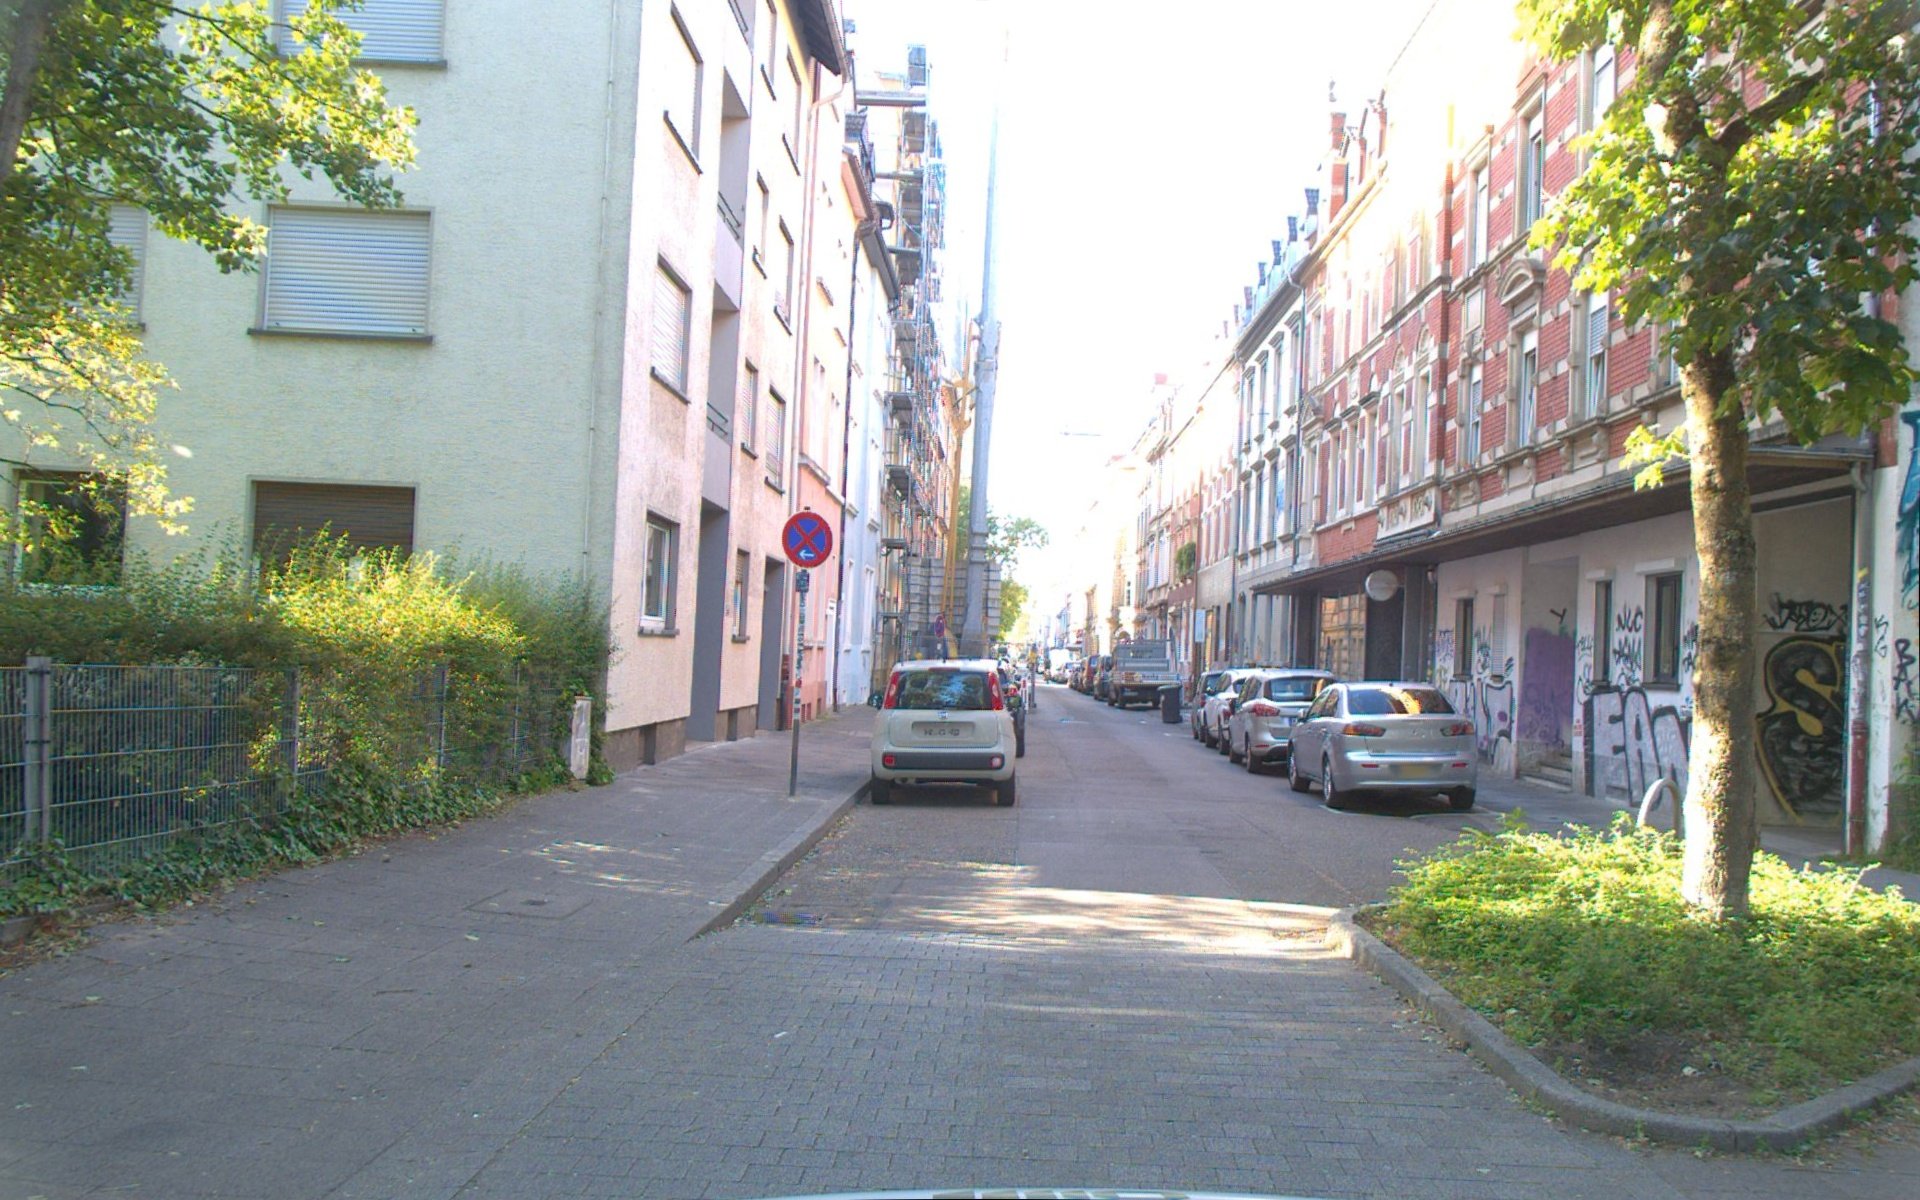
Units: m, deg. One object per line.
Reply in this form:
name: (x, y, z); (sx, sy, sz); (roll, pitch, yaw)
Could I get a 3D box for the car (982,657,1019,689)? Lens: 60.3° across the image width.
car: (1.974, 3.561, 81.119); (1.641, 1.471, 3.868); (2, -2, -1)

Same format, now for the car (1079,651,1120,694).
car: (6.961, 3.632, 83.013); (1.641, 2.067, 3.868); (2, -2, -1)

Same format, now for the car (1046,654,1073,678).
car: (8.122, 5.336, 134.856); (1.952, 1.881, 3.999); (2, -2, 0)

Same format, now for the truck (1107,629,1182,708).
truck: (6.647, 2.462, 60.043); (2.145, 2.653, 5.233); (2, -2, 1)

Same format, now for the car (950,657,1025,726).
car: (0.684, 2.165, 39.847); (1.640, 1.503, 4.608); (2, -2, 1)

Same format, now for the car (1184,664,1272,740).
car: (6.111, 2.288, 38.014); (1.563, 1.588, 3.814); (2, -2, 3)

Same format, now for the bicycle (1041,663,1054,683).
bicycle: (5.785, 4.808, 109.331); (0.709, 1.207, 2.043); (3, -1, 2)

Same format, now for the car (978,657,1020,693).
car: (1.691, 3.262, 72.312); (1.641, 1.471, 3.868); (2, -2, -1)

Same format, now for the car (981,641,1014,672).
car: (2.037, 3.106, 91.321); (1.641, 1.599, 3.868); (2, -2, -1)

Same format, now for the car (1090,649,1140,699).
car: (6.592, 3.144, 70.533); (1.641, 1.997, 4.107); (2, -2, -1)

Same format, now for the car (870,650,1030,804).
car: (-0.121, 1.411, 19.382); (1.641, 1.567, 3.868); (2, -2, -1)

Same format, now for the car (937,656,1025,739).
car: (0.457, 1.960, 34.125); (1.640, 1.538, 4.414); (2, -2, 1)

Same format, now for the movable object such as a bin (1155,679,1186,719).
movable object such as a bin: (6.076, 2.856, 47.770); (0.778, 1.074, 0.660); (2, -2, 2)

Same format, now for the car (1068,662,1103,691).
car: (7.308, 4.427, 96.473); (1.641, 1.599, 3.868); (2, -2, -1)

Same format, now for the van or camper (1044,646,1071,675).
van or camper: (8.805, 5.458, 149.511); (1.953, 2.552, 4.199); (2, -2, -2)

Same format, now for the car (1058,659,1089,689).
car: (8.296, 5.378, 121.000); (1.953, 2.049, 3.999); (2, -2, 0)

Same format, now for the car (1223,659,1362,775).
car: (5.384, 1.856, 27.162); (1.606, 1.685, 3.870); (3, -2, 3)

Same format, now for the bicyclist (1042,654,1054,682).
bicyclist: (5.806, 4.485, 109.396); (0.715, 1.792, 0.835); (3, -1, 2)

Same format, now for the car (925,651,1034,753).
car: (0.291, 1.686, 28.198); (1.694, 1.567, 4.376); (1, -2, -1)

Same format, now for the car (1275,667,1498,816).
car: (5.263, 1.697, 20.993); (1.686, 1.589, 4.398); (3, -2, 1)

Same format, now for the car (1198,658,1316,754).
car: (5.828, 2.057, 32.874); (1.710, 1.705, 4.341); (2, -2, 3)
